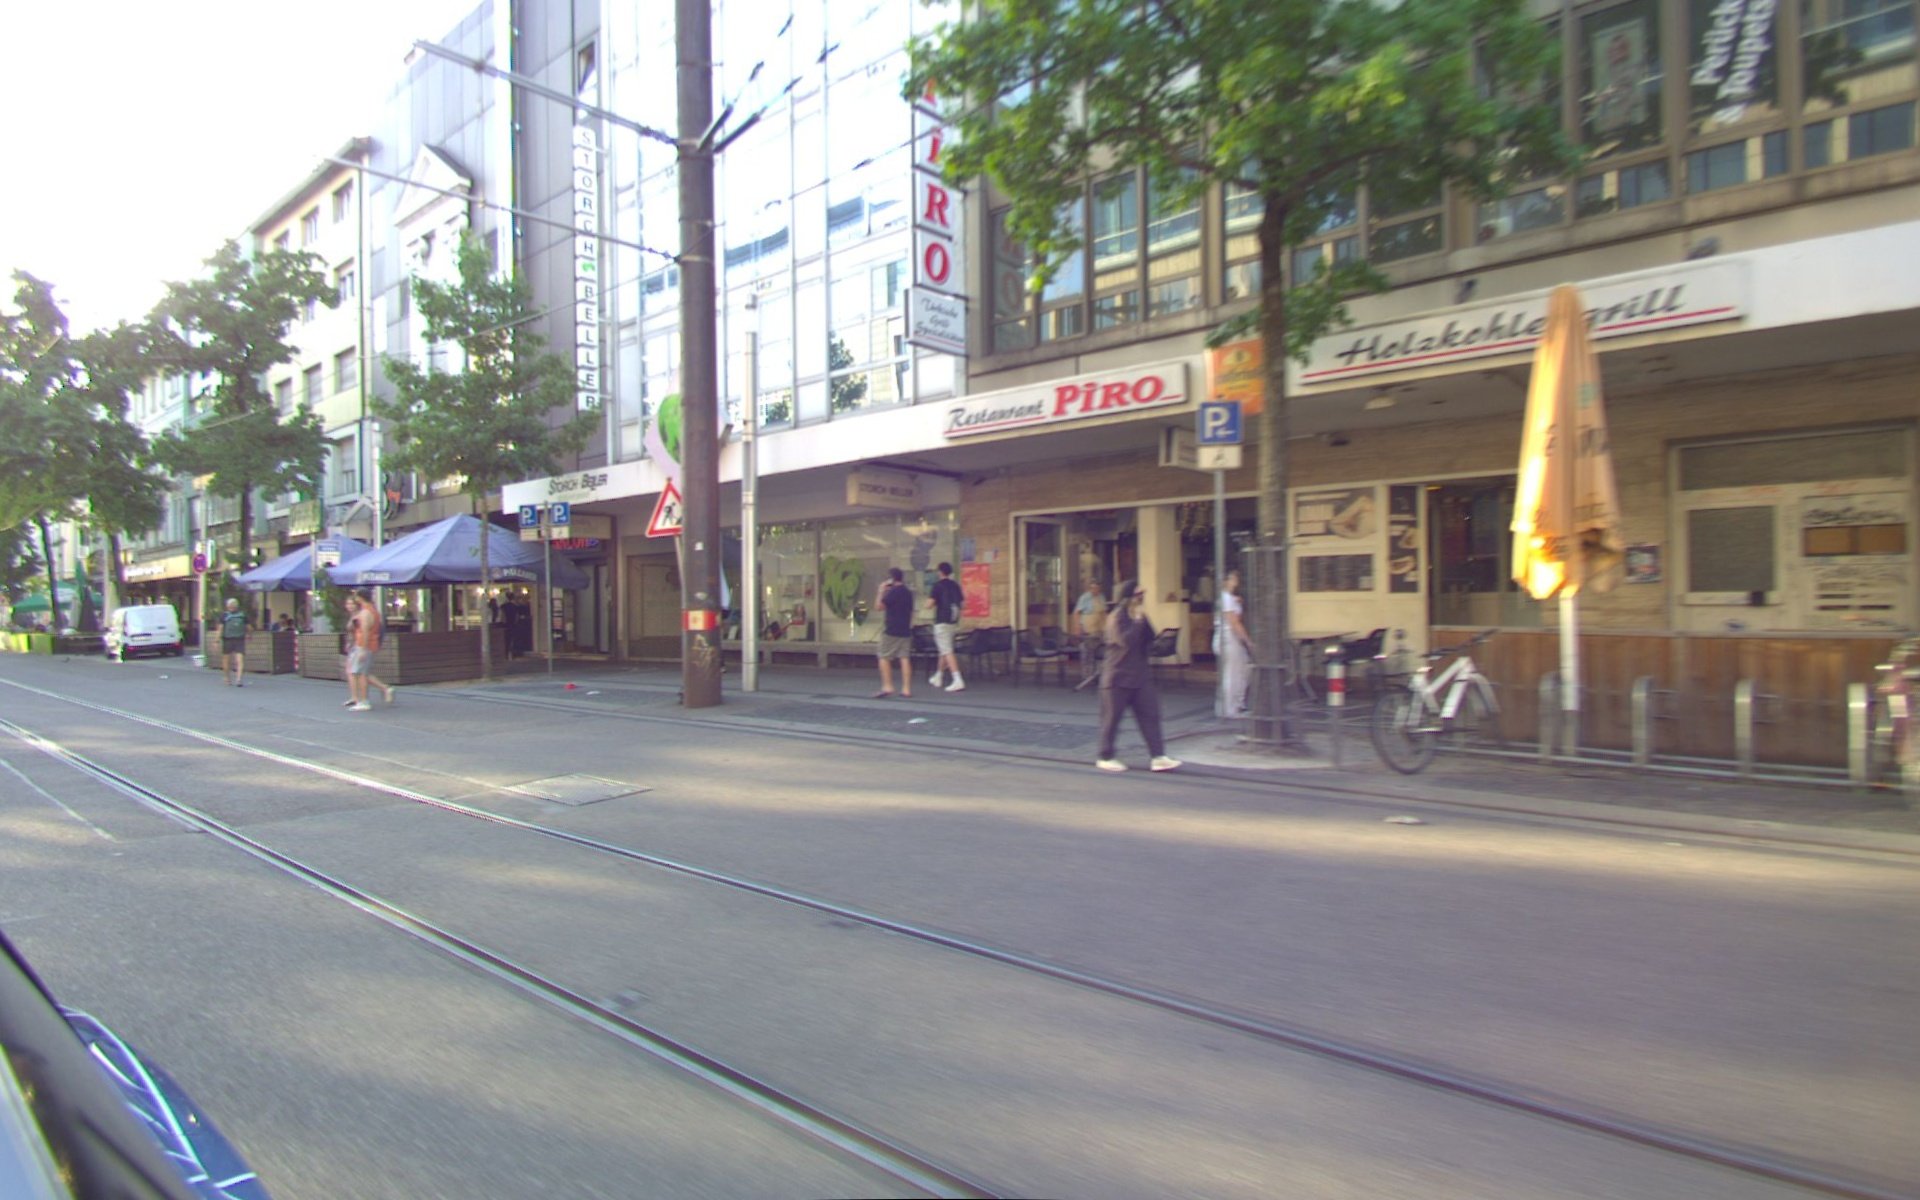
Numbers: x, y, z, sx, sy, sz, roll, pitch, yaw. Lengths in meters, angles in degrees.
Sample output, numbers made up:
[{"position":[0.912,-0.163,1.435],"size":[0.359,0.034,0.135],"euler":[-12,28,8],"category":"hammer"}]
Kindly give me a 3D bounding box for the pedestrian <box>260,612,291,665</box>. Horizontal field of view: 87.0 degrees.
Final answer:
[{"position":[-19.148,1.080,28.303],"size":[0.582,1.440,0.544],"euler":[-1,0,40],"category":"pedestrian"}]

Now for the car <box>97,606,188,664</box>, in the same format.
[{"position":[-29.469,1.229,36.437],"size":[4.552,1.878,1.777],"euler":[-1,2,42],"category":"car"}]

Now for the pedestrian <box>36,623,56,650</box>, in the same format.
[{"position":[-48.287,1.921,53.476],"size":[0.781,1.357,0.700],"euler":[-1,1,43],"category":"pedestrian"}]

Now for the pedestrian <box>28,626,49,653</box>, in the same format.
[{"position":[-44.841,1.913,49.249],"size":[0.696,1.254,0.613],"euler":[-1,2,40],"category":"pedestrian"}]

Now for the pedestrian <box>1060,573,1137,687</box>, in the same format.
[{"position":[1.946,0.408,14.179],"size":[0.809,1.537,0.616],"euler":[-1,2,41],"category":"pedestrian"}]

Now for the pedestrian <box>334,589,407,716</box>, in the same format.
[{"position":[-8.579,0.739,14.753],"size":[0.838,1.754,0.837],"euler":[-2,1,-29],"category":"pedestrian"}]

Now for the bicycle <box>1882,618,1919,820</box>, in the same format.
[{"position":[5.797,0.685,5.929],"size":[0.376,1.085,1.773],"euler":[-2,1,36],"category":"bicycle"}]

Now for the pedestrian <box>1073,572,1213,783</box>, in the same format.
[{"position":[1.457,0.582,8.060],"size":[0.852,1.561,0.616],"euler":[-1,2,41],"category":"pedestrian"}]

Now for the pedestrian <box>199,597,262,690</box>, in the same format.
[{"position":[-14.892,0.864,20.656],"size":[0.790,1.814,0.832],"euler":[-1,1,42],"category":"pedestrian"}]

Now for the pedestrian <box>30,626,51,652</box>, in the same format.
[{"position":[-45.553,1.915,50.137],"size":[0.696,1.254,0.613],"euler":[-1,2,40],"category":"pedestrian"}]

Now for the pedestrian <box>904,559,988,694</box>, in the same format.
[{"position":[-0.201,0.363,14.289],"size":[0.933,1.817,0.616],"euler":[-1,1,41],"category":"pedestrian"}]

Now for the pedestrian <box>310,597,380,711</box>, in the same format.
[{"position":[-9.394,0.800,15.484],"size":[0.837,1.650,0.764],"euler":[-2,1,-29],"category":"pedestrian"}]

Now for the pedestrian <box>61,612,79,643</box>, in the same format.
[{"position":[-53.840,1.635,61.211],"size":[0.675,1.829,0.766],"euler":[-3,1,-34],"category":"pedestrian"}]

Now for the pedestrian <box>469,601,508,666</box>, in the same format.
[{"position":[-11.615,0.811,24.942],"size":[0.671,1.544,0.591],"euler":[-2,1,41],"category":"pedestrian"}]

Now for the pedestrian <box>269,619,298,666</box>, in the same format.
[{"position":[-18.264,1.144,27.313],"size":[0.535,1.237,0.490],"euler":[-1,0,40],"category":"pedestrian"}]

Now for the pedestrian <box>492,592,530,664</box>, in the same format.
[{"position":[-11.255,0.686,25.356],"size":[0.671,1.758,0.591],"euler":[-2,1,41],"category":"pedestrian"}]

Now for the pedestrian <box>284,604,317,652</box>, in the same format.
[{"position":[-23.711,0.998,36.370],"size":[1.004,1.698,0.660],"euler":[-1,1,40],"category":"pedestrian"}]

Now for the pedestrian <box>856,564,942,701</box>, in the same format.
[{"position":[-0.823,0.426,13.604],"size":[0.933,1.760,0.616],"euler":[-1,2,41],"category":"pedestrian"}]

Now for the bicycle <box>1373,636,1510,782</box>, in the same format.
[{"position":[3.746,0.795,7.816],"size":[1.576,0.937,0.377],"euler":[-2,1,-43],"category":"bicycle"}]

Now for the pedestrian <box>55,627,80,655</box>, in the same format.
[{"position":[-39.520,1.801,44.797],"size":[0.797,1.202,0.650],"euler":[-1,2,40],"category":"pedestrian"}]

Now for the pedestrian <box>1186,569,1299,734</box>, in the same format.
[{"position":[2.773,0.483,9.944],"size":[0.833,1.520,0.616],"euler":[-1,2,41],"category":"pedestrian"}]

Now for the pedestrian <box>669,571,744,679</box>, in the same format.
[{"position":[-4.748,0.459,18.980],"size":[1.070,1.937,0.793],"euler":[-2,1,38],"category":"pedestrian"}]

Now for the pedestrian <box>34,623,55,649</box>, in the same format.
[{"position":[-48.928,1.911,54.075],"size":[0.806,1.321,0.682],"euler":[-1,1,41],"category":"pedestrian"}]

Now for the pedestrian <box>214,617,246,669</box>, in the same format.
[{"position":[-19.862,1.155,27.533],"size":[0.582,1.366,0.544],"euler":[-1,0,40],"category":"pedestrian"}]

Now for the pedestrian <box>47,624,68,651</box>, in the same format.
[{"position":[-44.549,1.845,49.964],"size":[0.696,1.254,0.613],"euler":[-1,2,40],"category":"pedestrian"}]
